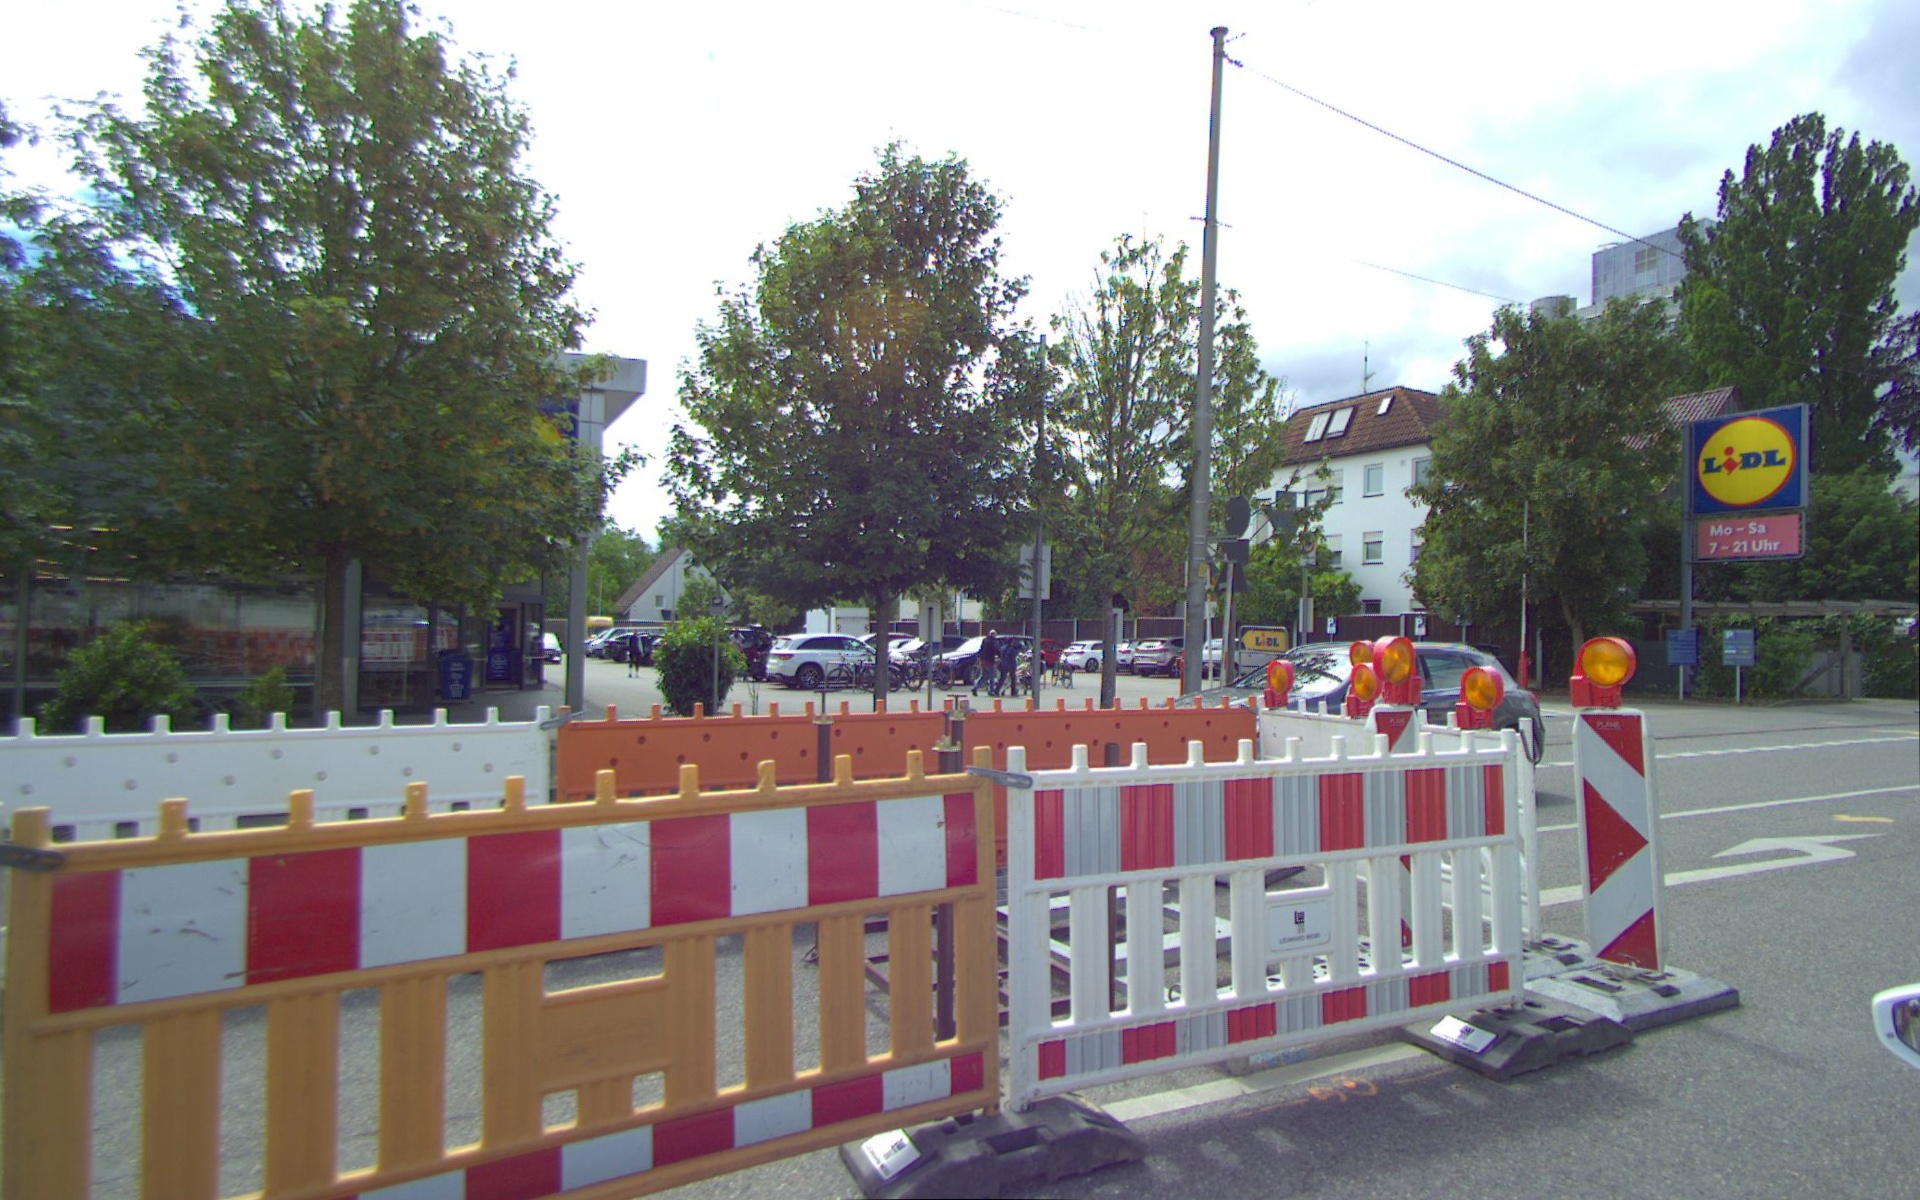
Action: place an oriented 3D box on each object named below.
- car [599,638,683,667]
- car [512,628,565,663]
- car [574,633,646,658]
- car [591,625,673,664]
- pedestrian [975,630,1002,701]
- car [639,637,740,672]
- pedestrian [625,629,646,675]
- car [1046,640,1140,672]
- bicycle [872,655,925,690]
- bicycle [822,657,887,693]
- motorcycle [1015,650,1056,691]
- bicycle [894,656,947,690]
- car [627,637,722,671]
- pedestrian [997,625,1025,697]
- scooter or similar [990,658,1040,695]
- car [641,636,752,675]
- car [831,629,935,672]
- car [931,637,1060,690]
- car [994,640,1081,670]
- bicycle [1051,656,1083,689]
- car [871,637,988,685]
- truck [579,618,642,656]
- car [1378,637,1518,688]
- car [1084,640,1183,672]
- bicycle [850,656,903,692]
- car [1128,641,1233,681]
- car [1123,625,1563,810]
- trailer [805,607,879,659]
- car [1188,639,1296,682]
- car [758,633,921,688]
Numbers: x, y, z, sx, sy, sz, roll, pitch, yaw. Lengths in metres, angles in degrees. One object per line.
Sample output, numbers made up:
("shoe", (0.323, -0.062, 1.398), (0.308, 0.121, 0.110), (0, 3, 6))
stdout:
("car", (-18.048, 2.970, 56.834), (4.261, 1.593, 1.985), (2, -2, -29))
("car", (-21.295, 2.278, 50.642), (1.976, 1.706, 3.969), (2, -3, -29))
("car", (-23.576, 3.056, 67.684), (4.261, 1.593, 1.985), (2, -2, -29))
("car", (-21.034, 2.877, 64.453), (4.642, 2.426, 1.985), (2, -2, -29))
("pedestrian", (0.769, 1.759, 27.043), (0.605, 1.884, 0.419), (2, -2, -30))
("car", (-12.825, 2.582, 47.593), (4.261, 1.593, 1.985), (2, -2, -29))
("pedestrian", (-11.664, 1.865, 36.058), (0.599, 1.637, 0.502), (2, -2, -28))
("car", (6.145, 2.587, 46.295), (3.955, 1.416, 1.983), (2, -3, -32))
("bicycle", (-1.825, 2.126, 29.696), (1.857, 0.969, 0.347), (-1, -3, 41))
("bicycle", (-2.996, 2.114, 28.389), (1.847, 0.969, 0.349), (0, -2, 20))
("motorcycle", (2.359, 2.143, 31.026), (0.844, 1.208, 1.957), (0, -3, 17))
("bicycle", (-1.213, 2.184, 30.202), (1.857, 0.969, 0.347), (-1, -3, 41))
("car", (-14.330, 2.701, 50.399), (4.261, 1.593, 1.985), (2, -2, -29))
("pedestrian", (1.347, 1.609, 26.652), (0.605, 1.884, 0.419), (2, -2, -30))
("scooter or similar", (1.506, 2.092, 27.578), (1.215, 0.956, 0.650), (2, -2, -30))
("car", (-11.327, 2.405, 43.253), (4.261, 1.593, 1.985), (2, -2, -29))
("car", (-3.278, 2.145, 42.572), (3.949, 1.718, 1.986), (2, -3, -28))
("car", (1.214, 2.132, 34.309), (3.949, 1.718, 1.986), (2, -3, -28))
("car", (3.904, 2.746, 50.419), (3.955, 1.416, 1.983), (2, -3, -32))
("bicycle", (3.367, 2.272, 31.731), (0.309, 0.969, 1.649), (1, -2, -21))
("car", (-1.158, 2.277, 37.836), (3.949, 1.718, 1.986), (2, -3, -28))
("truck", (-26.630, 2.837, 76.569), (4.261, 2.807, 1.985), (2, -2, -29))
("car", (15.177, 1.920, 31.211), (3.950, 1.472, 1.986), (2, -3, -28))
("car", (7.579, 2.446, 43.715), (3.955, 1.305, 1.983), (2, -3, -32))
("bicycle", (-2.446, 2.141, 29.191), (1.857, 0.969, 0.347), (-1, -3, 41))
("car", (9.065, 2.497, 41.220), (3.955, 1.572, 1.983), (2, -3, -32))
("car", (3.792, 1.061, 9.977), (3.944, 1.533, 1.850), (2, -2, -24))
("trailer", (-8.524, 2.410, 71.962), (3.315, 3.532, 6.134), (2, -3, -28))
("car", (11.080, 2.362, 39.419), (3.955, 1.572, 1.983), (2, -3, -32))
("car", (-3.717, 1.858, 31.204), (4.616, 1.593, 1.985), (2, -2, -29))
